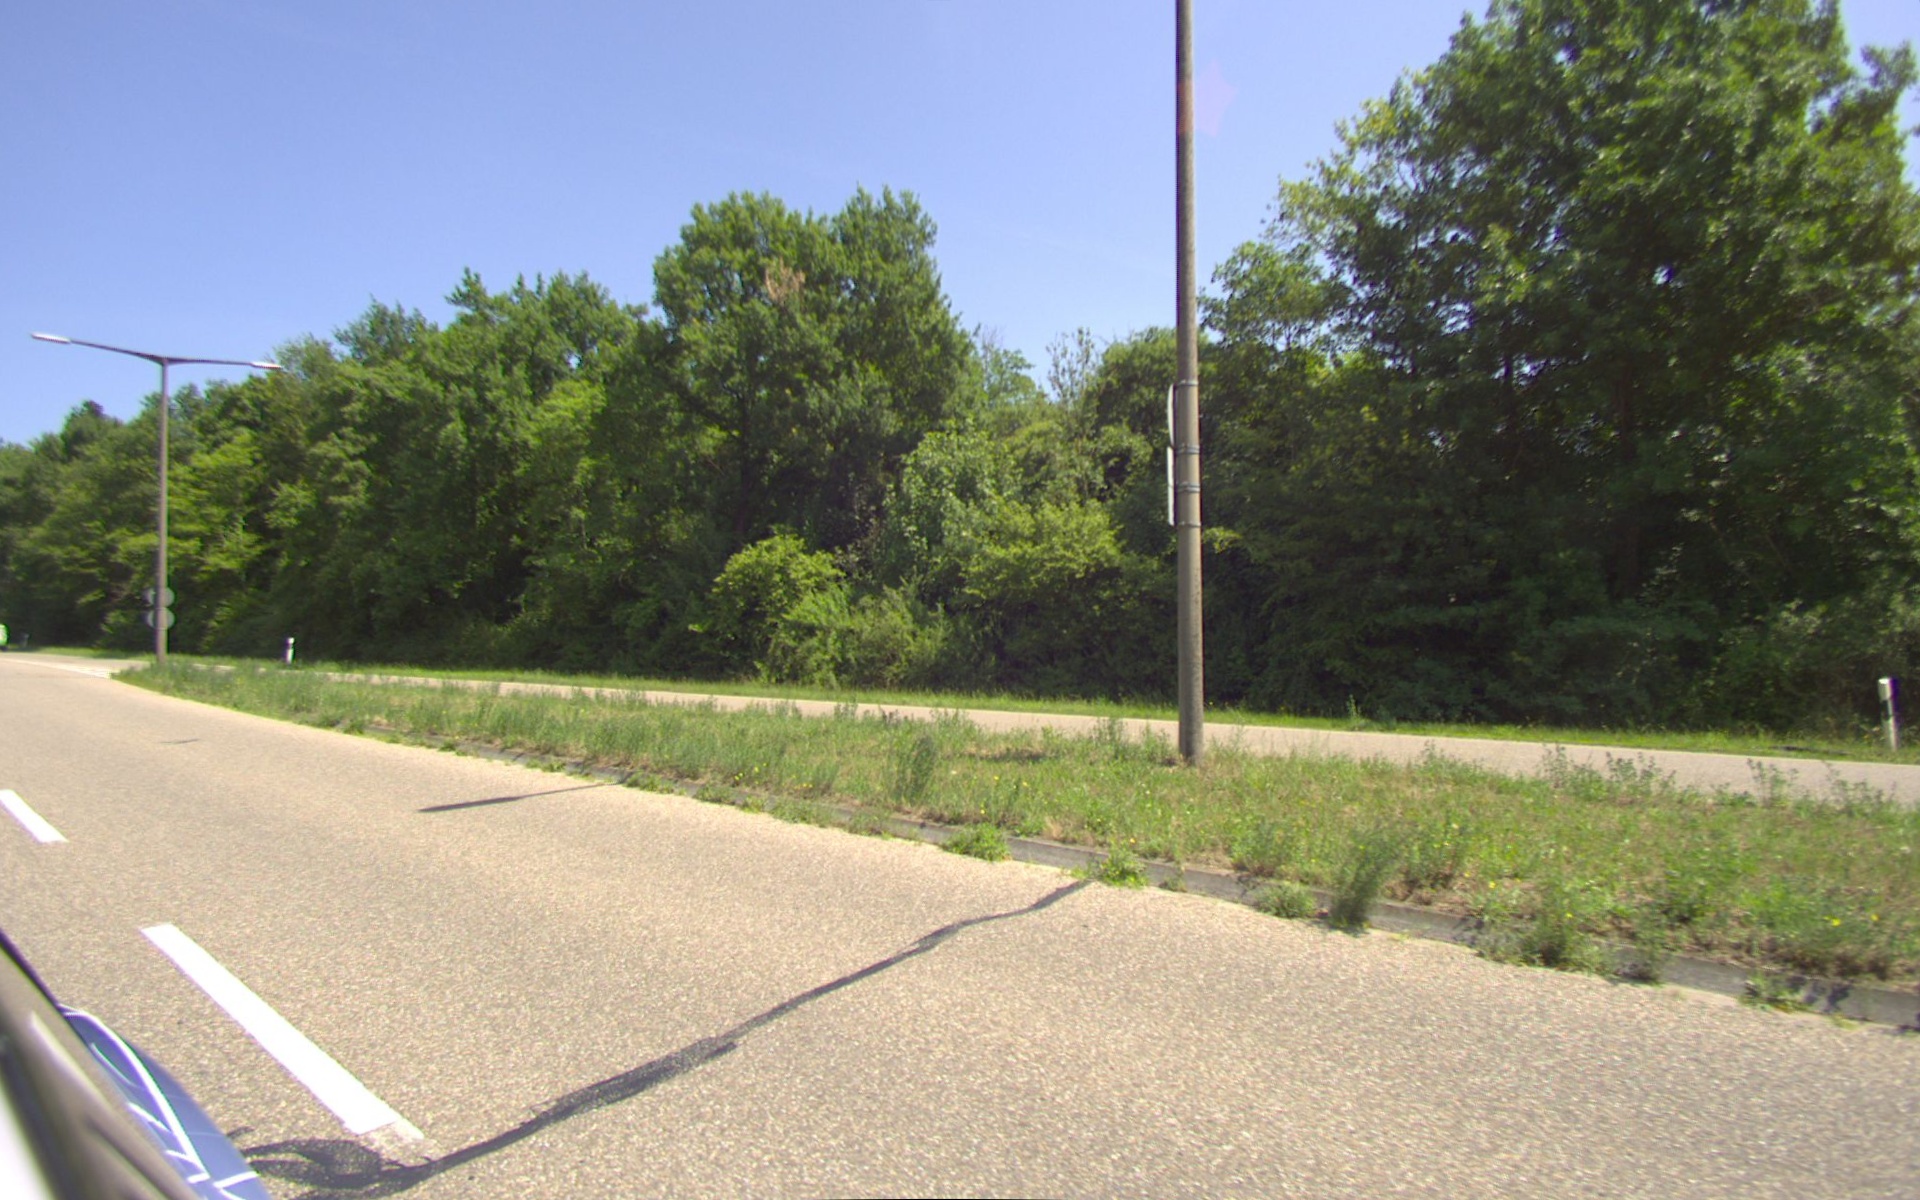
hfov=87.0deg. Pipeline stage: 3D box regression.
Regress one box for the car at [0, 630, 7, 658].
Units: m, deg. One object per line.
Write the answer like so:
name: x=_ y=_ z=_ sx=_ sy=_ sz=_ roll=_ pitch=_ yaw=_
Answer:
car: x=-61.402 y=2.743 z=63.410 sx=4.088 sy=1.701 sz=1.716 roll=-2 pitch=-5 yaw=37
